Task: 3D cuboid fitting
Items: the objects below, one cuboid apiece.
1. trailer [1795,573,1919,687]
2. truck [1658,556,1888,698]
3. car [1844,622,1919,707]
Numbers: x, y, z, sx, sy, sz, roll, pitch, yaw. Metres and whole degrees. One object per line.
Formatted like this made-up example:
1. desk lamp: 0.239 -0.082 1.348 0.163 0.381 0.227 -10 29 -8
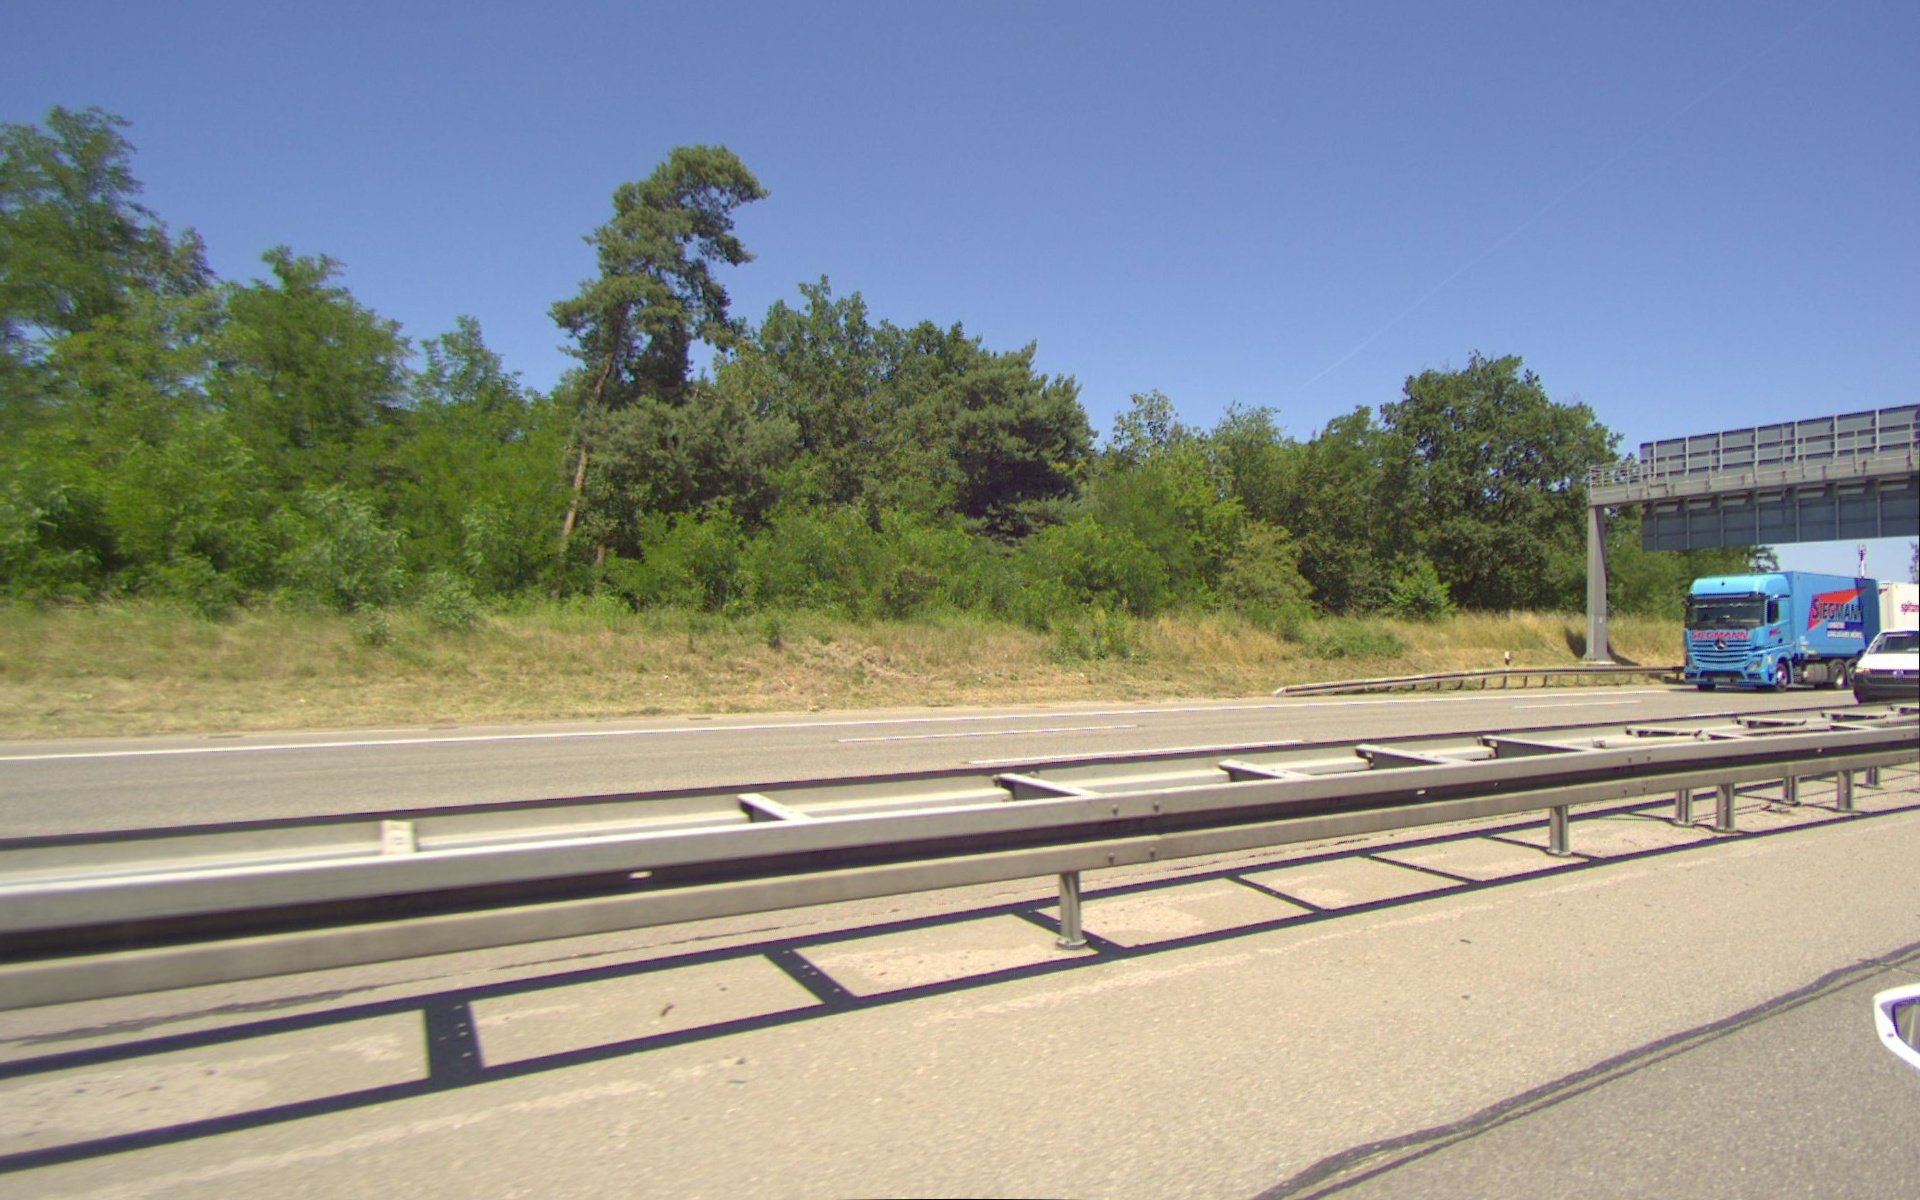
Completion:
1. trailer: 38.461 1.303 41.748 8.534 4.339 3.044 2 -2 -30
2. truck: 29.767 1.033 36.592 10.336 4.618 3.044 2 -2 -30
3. car: 23.053 1.497 23.671 5.177 1.879 1.823 2 -3 -31
